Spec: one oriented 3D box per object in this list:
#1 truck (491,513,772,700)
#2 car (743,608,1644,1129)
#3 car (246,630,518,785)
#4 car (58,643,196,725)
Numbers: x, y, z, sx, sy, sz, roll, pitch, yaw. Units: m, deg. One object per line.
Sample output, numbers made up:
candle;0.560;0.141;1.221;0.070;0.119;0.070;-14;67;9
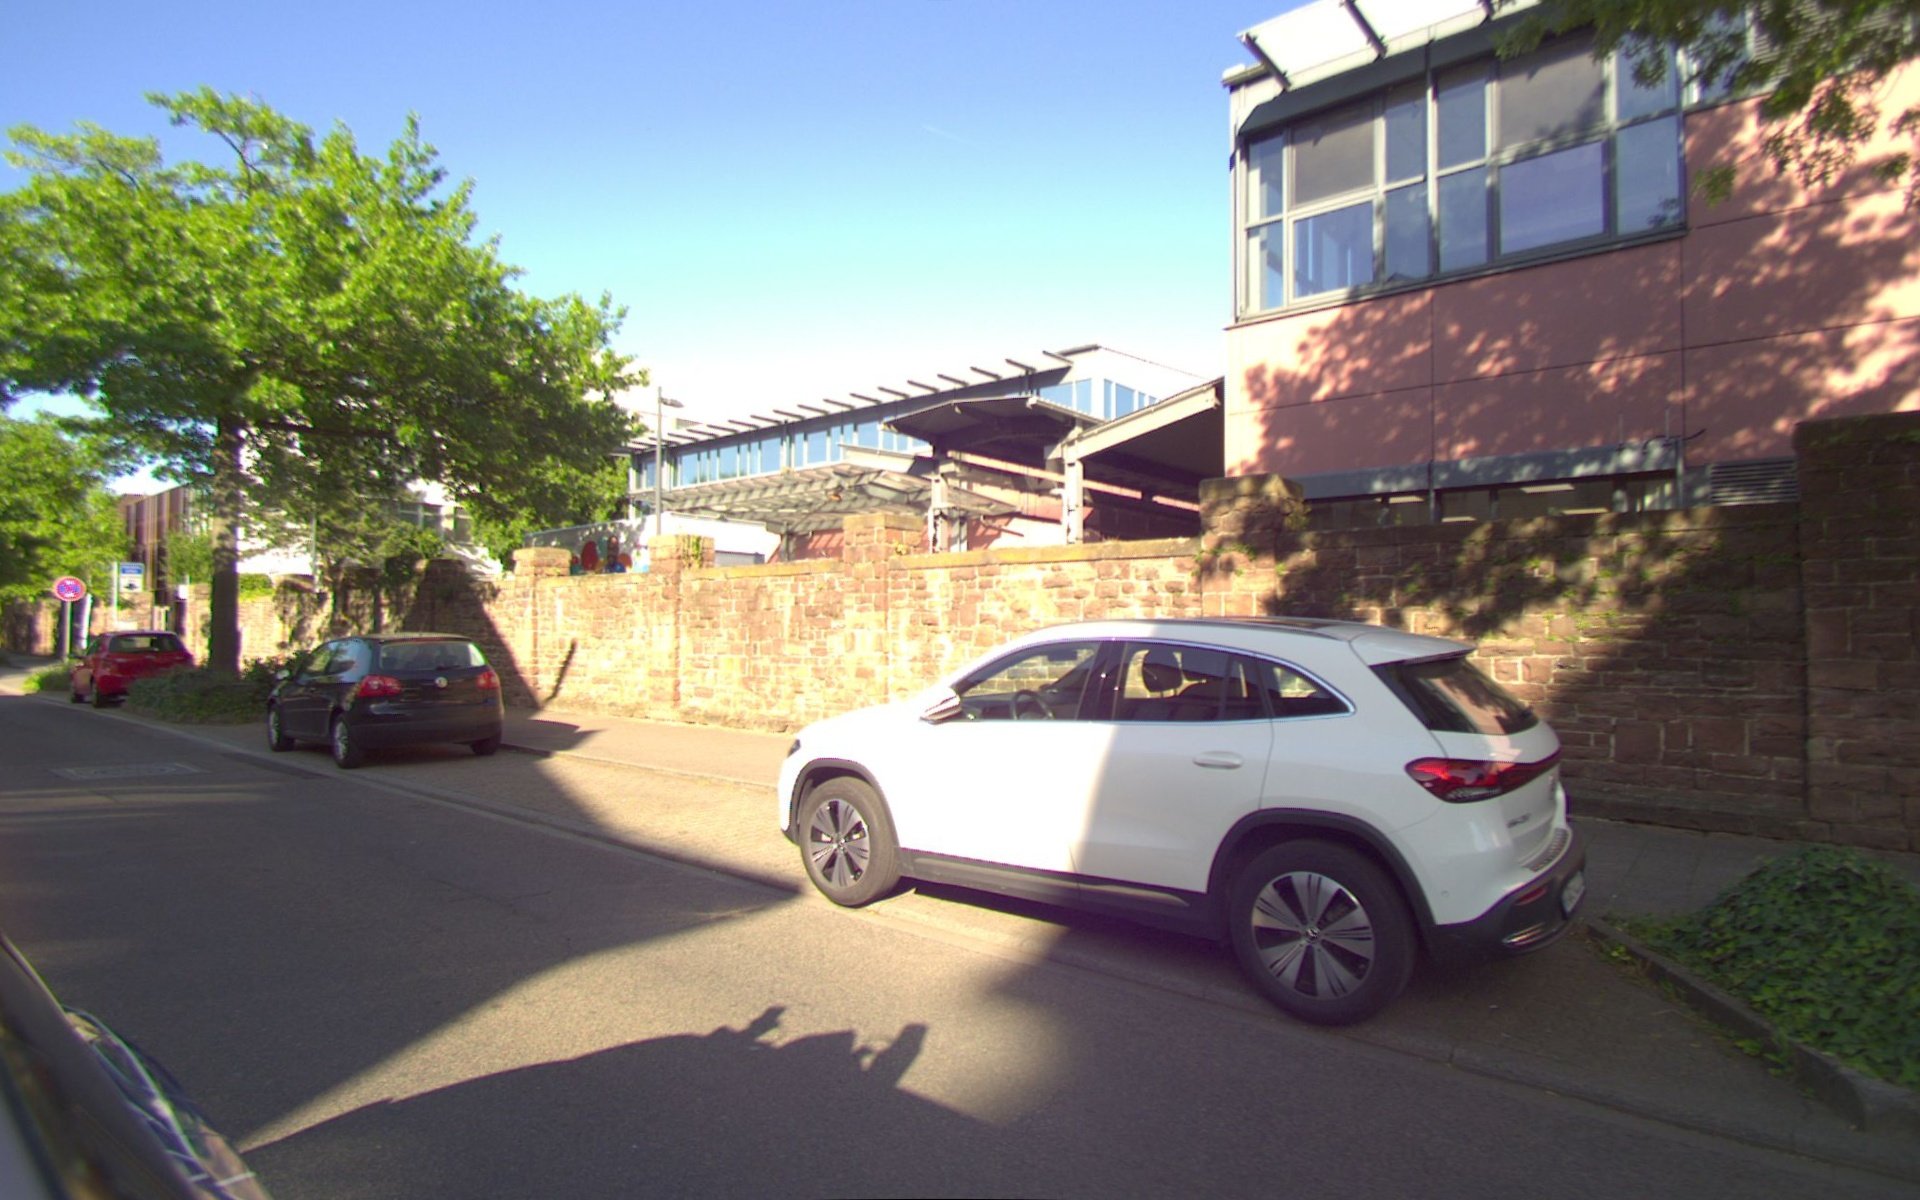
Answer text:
truck;-7.894;0.193;23.723;7.422;3.739;2.705;-2;-1;40
car;0.921;0.938;5.361;4.346;1.696;1.703;-2;-2;39
car;-7.283;1.190;12.590;4.105;1.604;1.719;-2;-2;42
car;-17.388;1.671;21.073;3.706;1.470;1.592;-2;-1;41
